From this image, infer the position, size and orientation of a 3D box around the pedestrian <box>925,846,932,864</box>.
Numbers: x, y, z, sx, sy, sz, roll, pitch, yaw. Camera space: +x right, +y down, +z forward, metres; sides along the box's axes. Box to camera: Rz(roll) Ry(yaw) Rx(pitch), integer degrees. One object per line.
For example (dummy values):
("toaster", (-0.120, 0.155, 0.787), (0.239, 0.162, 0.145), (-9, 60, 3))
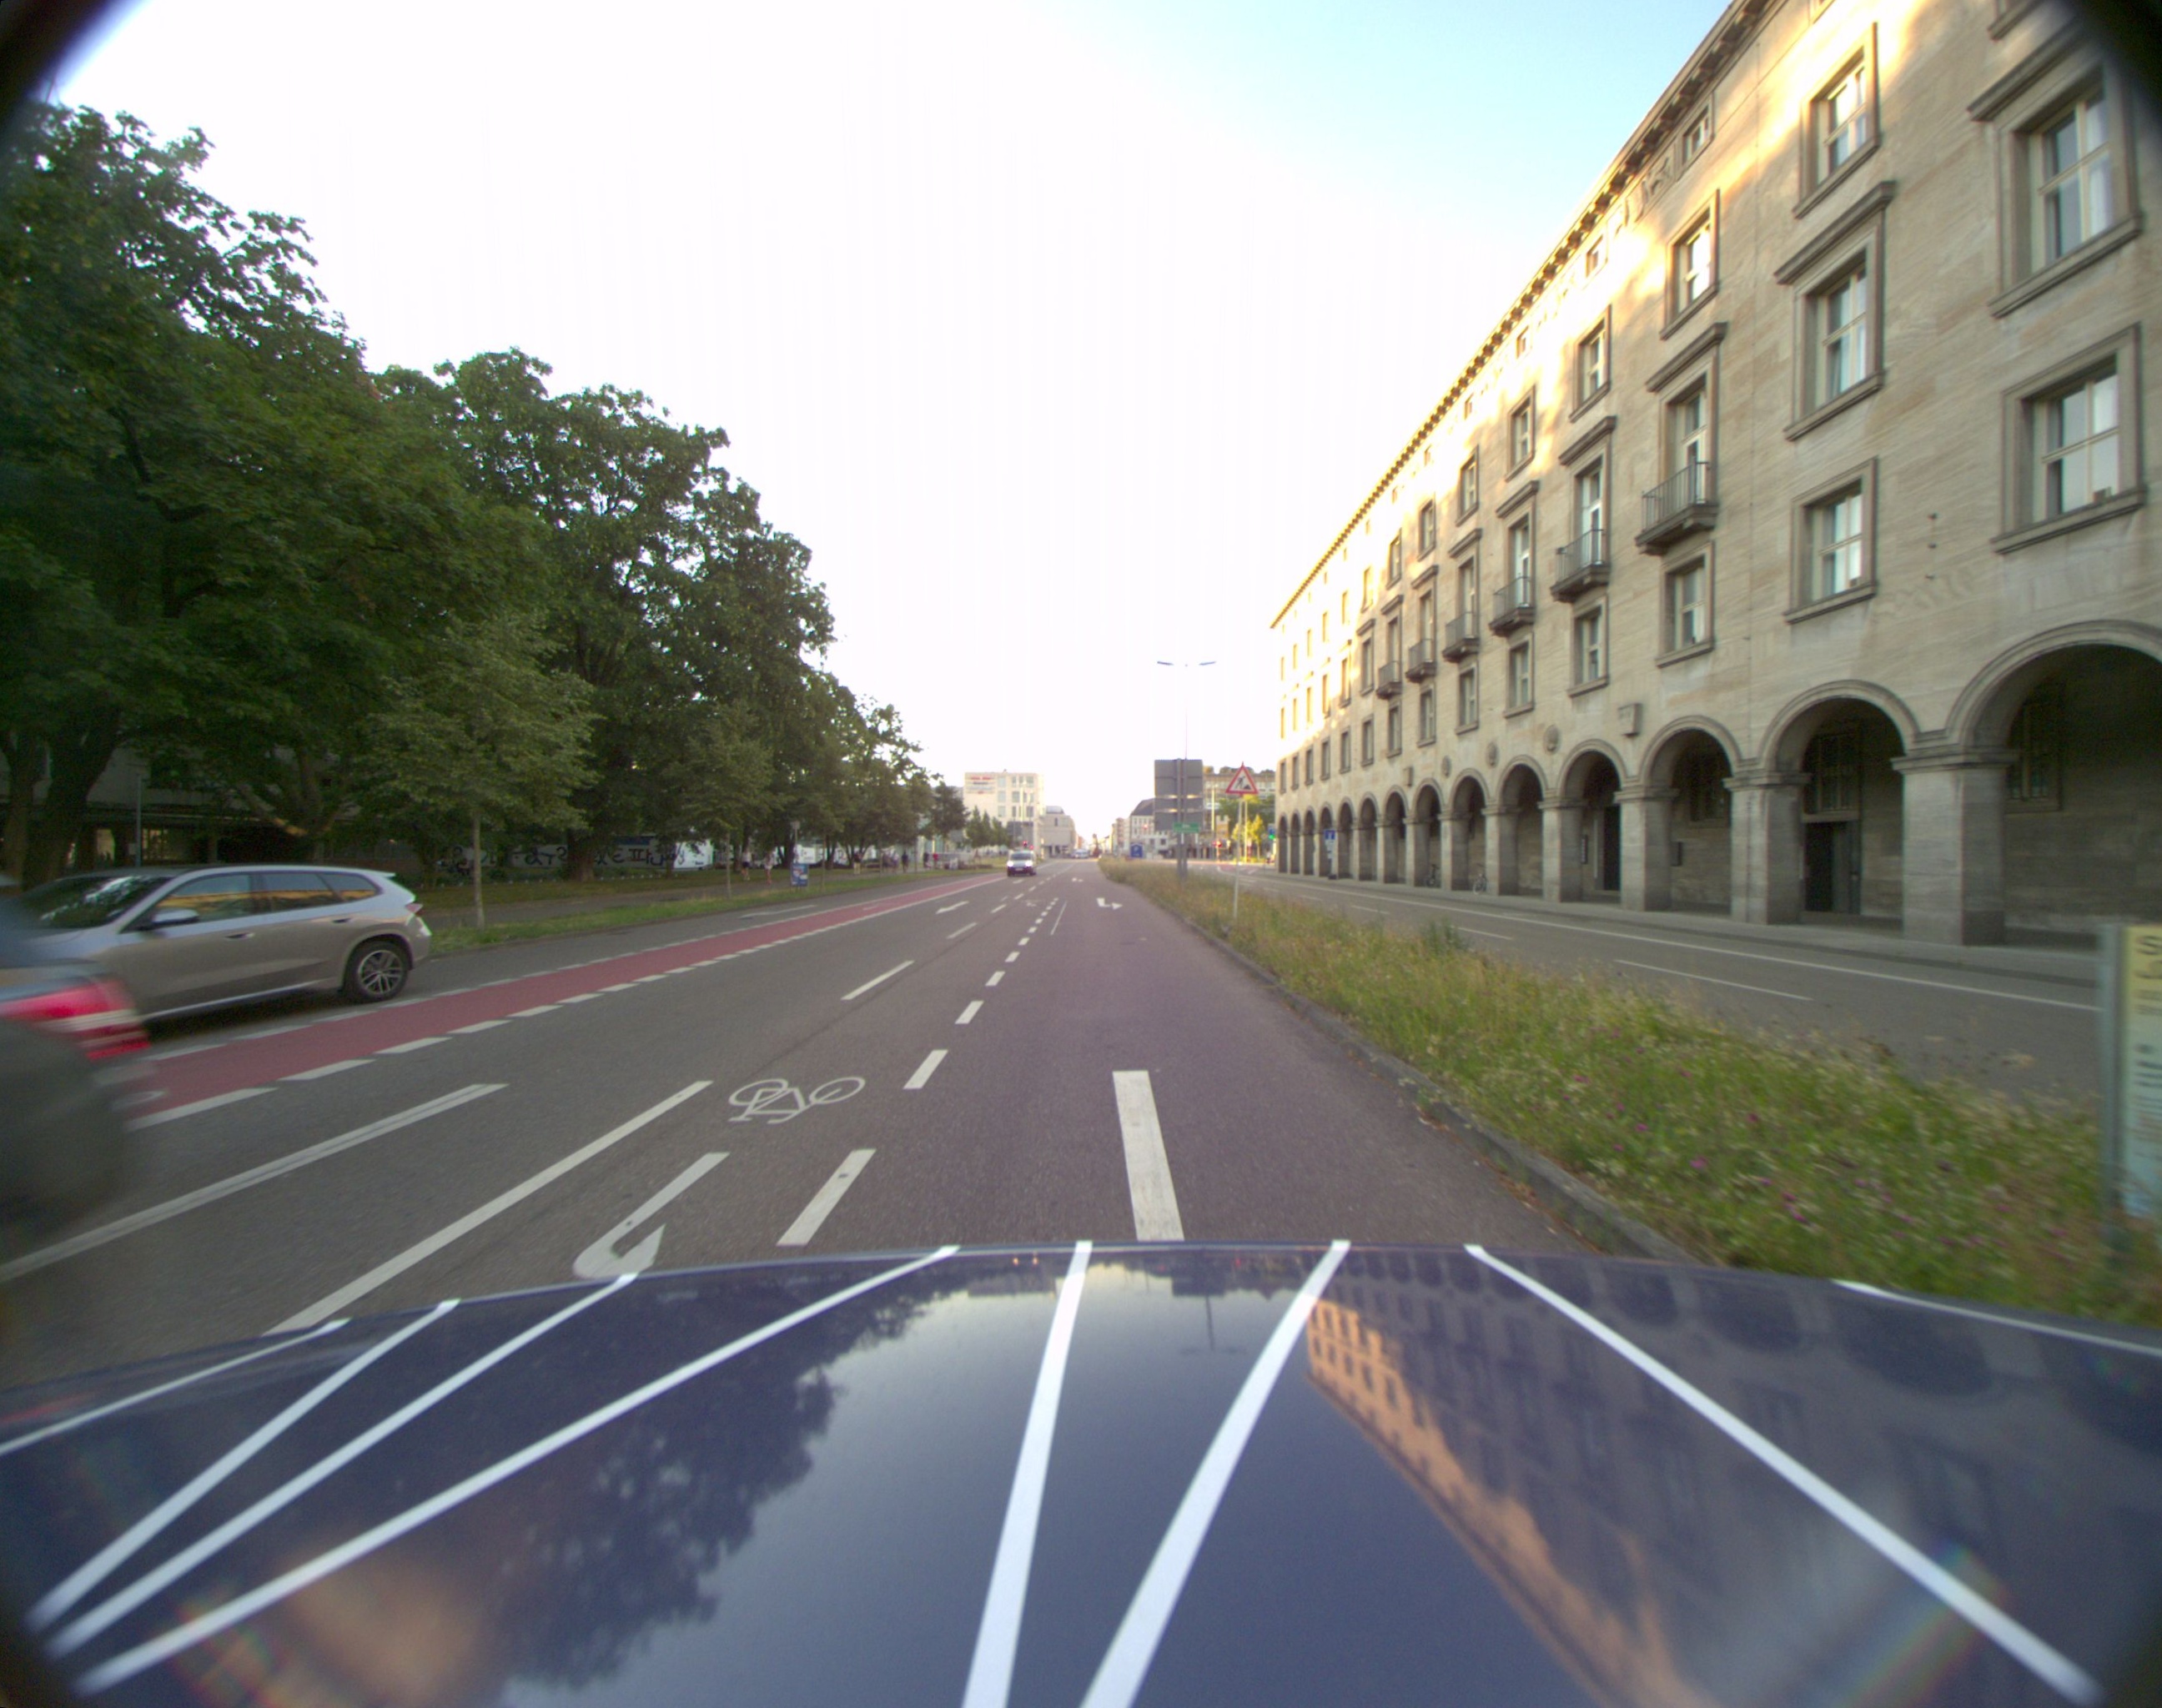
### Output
("pedestrian", (-14.676, 0.061, 73.175), (0.638, 1.747, 0.506), (0, 1, 1))

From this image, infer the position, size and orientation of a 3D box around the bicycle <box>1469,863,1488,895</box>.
("bicycle", (15.204, 0.935, 29.029), (0.513, 1.115, 2.427), (1, 2, 30))

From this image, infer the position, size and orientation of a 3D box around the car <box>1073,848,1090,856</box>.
("car", (0.163, -0.693, 217.912), (1.994, 2.297, 5.100), (1, 1, 37))

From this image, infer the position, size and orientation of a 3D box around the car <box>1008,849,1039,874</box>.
("car", (-3.966, 0.473, 53.079), (1.782, 1.676, 4.215), (0, 0, 1))

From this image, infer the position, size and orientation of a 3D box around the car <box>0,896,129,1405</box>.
("car", (-4.405, 0.979, 0.659), (1.782, 1.617, 4.215), (-1, 0, 1))

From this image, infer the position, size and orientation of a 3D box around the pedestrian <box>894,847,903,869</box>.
("pedestrian", (-14.364, 0.290, 59.861), (0.509, 1.720, 0.719), (0, 1, 1))

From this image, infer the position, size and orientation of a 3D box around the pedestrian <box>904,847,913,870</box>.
("pedestrian", (-13.437, 0.343, 59.117), (0.558, 1.729, 0.555), (0, 1, 1))

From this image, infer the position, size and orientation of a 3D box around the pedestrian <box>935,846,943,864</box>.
("pedestrian", (-13.681, 0.104, 73.089), (0.638, 1.747, 0.506), (0, 1, 1))

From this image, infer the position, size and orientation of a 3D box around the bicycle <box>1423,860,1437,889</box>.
("bicycle", (15.444, 0.882, 33.621), (0.513, 1.172, 2.427), (1, 1, 25))

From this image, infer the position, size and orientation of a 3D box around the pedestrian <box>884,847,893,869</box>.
("pedestrian", (-15.196, 0.293, 59.926), (0.519, 1.720, 0.719), (0, 1, 1))

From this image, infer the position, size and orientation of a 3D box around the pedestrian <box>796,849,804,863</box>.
("pedestrian", (-27.628, 0.160, 74.702), (0.662, 1.347, 0.559), (0, 1, 1))

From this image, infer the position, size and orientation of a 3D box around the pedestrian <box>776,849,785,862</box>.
("pedestrian", (-29.437, 0.142, 74.440), (0.631, 1.347, 0.681), (0, 1, 1))

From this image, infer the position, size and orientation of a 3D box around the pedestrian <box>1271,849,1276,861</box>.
("pedestrian", (23.499, 0.144, 92.779), (0.526, 1.532, 0.390), (0, 1, 1))

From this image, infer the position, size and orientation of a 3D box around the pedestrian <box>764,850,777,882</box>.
("pedestrian", (-15.522, 0.595, 37.961), (0.500, 1.592, 0.365), (0, 1, 1))

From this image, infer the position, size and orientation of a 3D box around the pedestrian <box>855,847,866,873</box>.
("pedestrian", (-15.094, 0.405, 52.014), (0.509, 1.720, 0.719), (0, 1, 1))

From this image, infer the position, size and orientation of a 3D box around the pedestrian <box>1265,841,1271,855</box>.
("pedestrian", (22.809, -0.723, 92.765), (0.638, 1.747, 0.506), (0, 1, 1))

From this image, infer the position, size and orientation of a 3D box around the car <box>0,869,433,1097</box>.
("car", (-8.970, 1.033, 7.179), (1.826, 1.612, 4.337), (-2, 0, 2))

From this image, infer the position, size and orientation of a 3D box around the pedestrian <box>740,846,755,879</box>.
("pedestrian", (-16.558, 0.423, 37.741), (0.500, 1.592, 0.522), (0, 1, 1))
